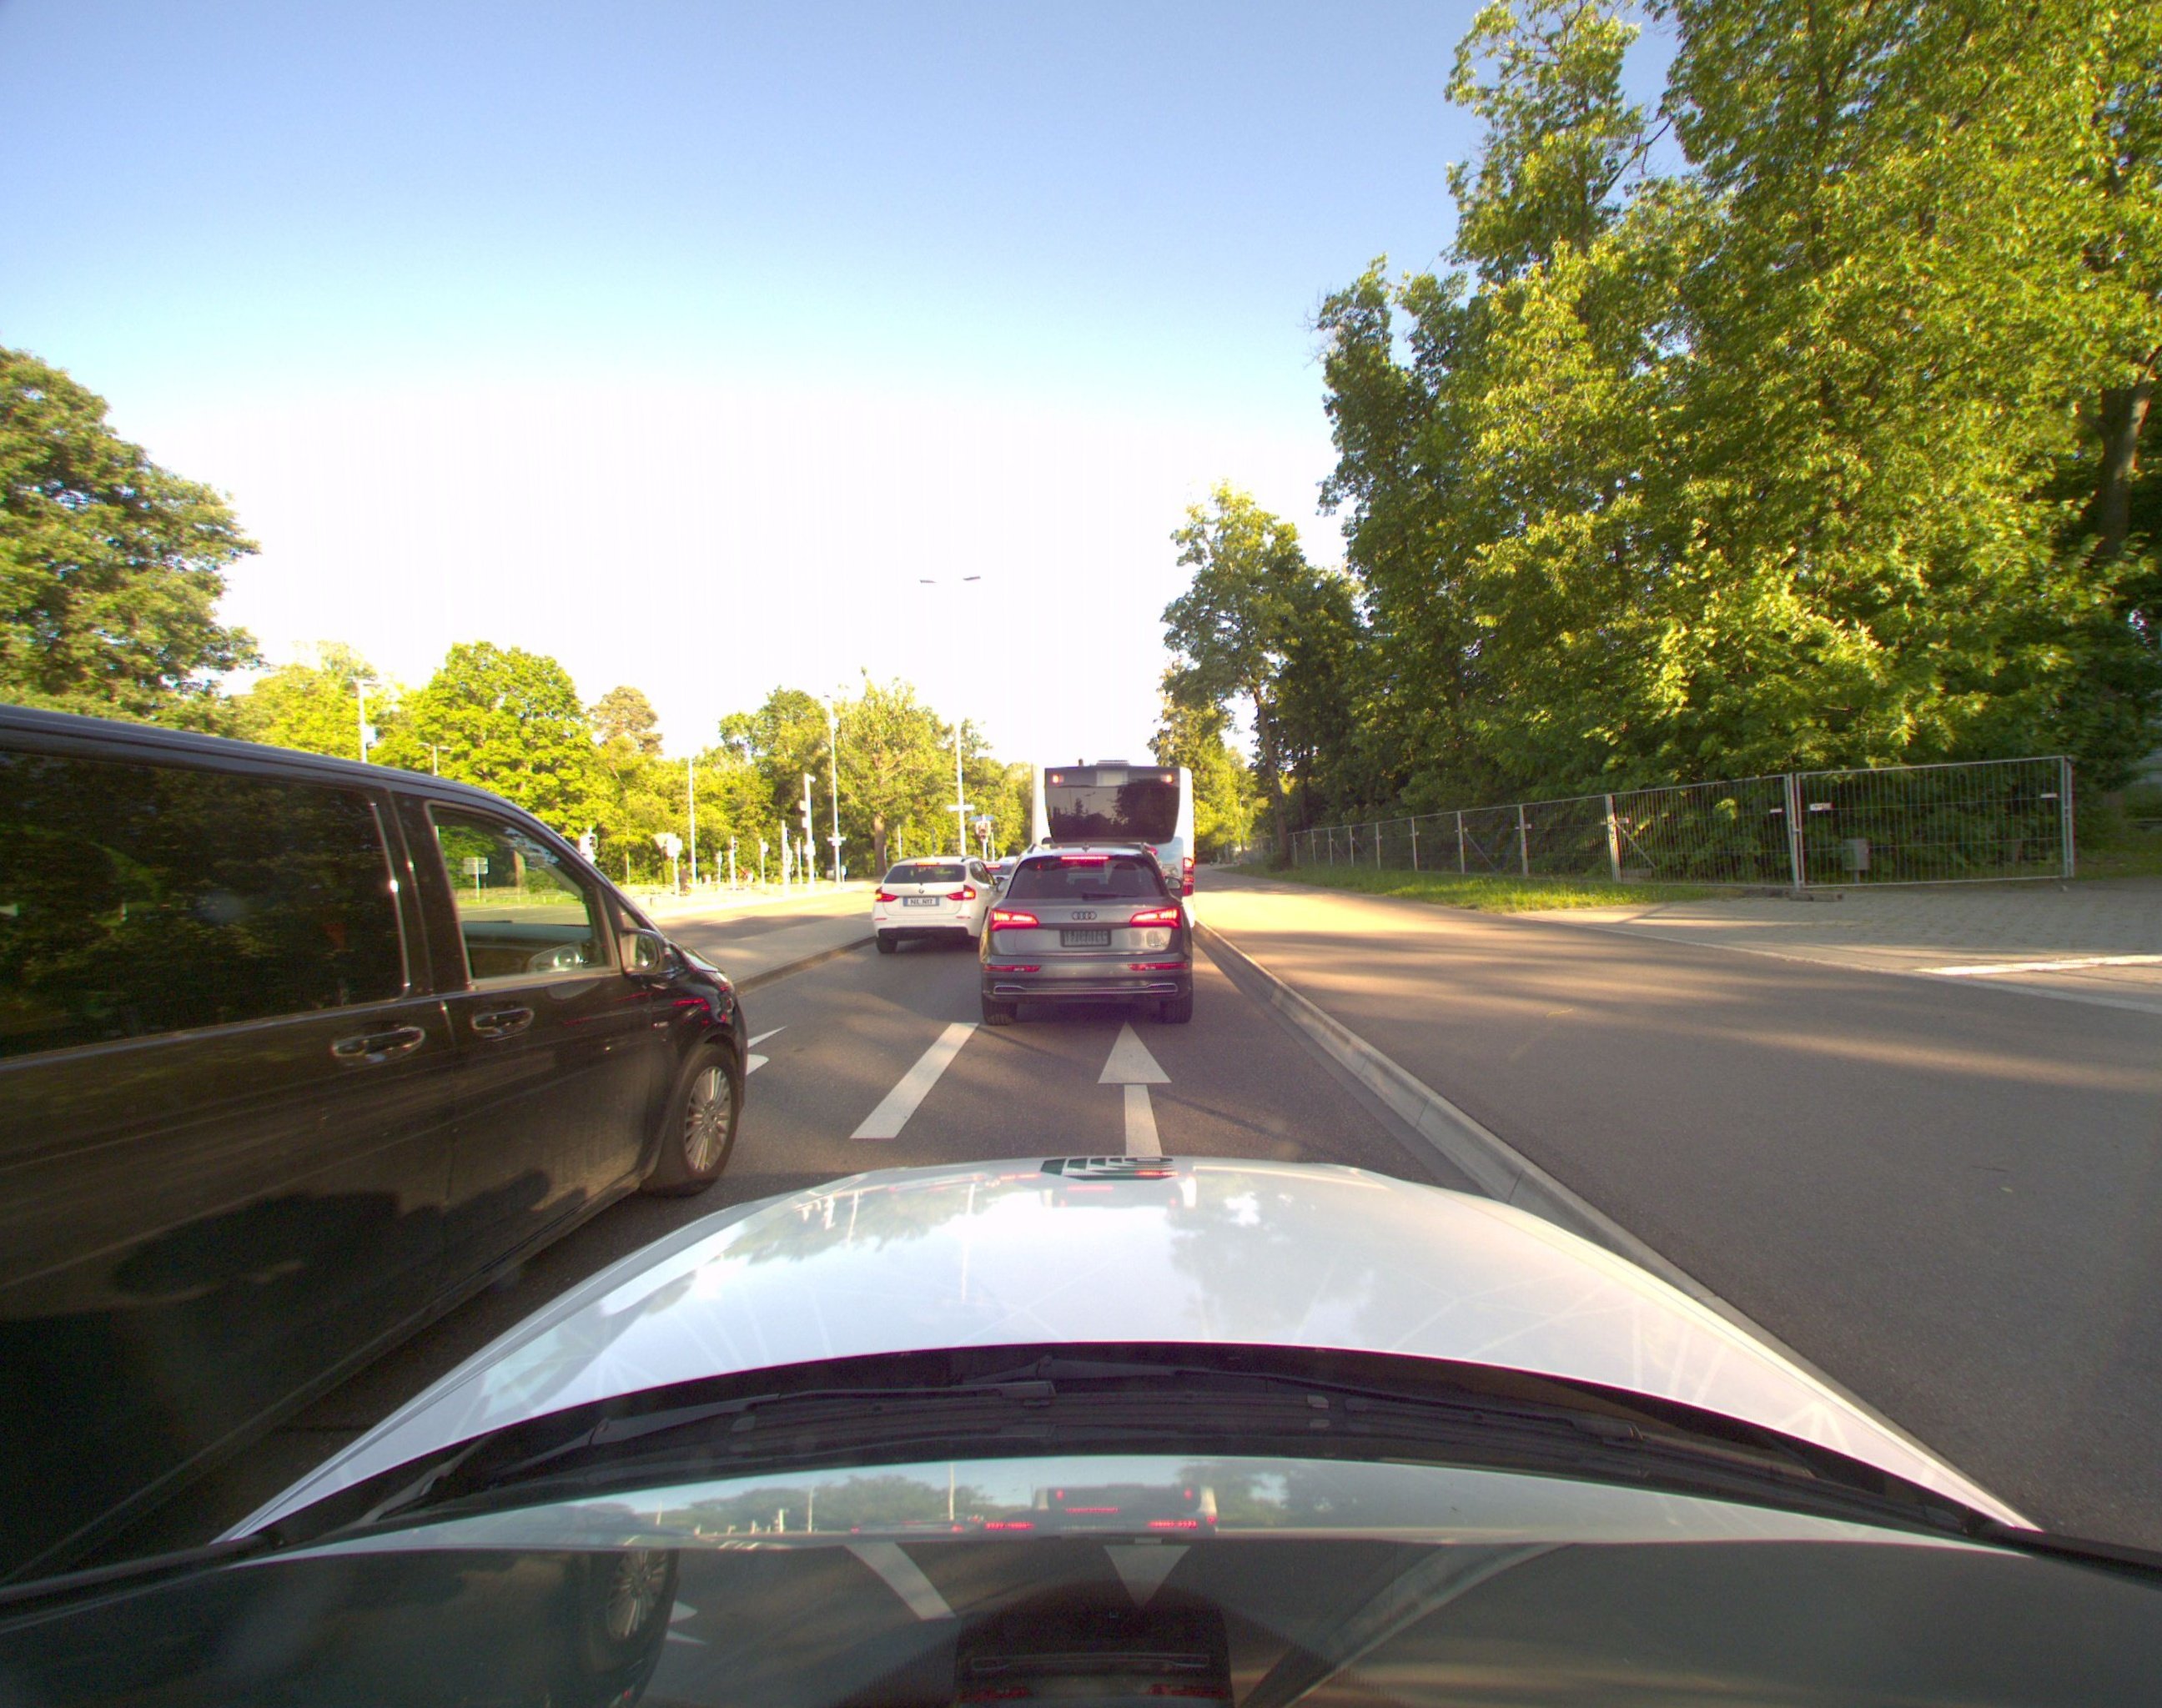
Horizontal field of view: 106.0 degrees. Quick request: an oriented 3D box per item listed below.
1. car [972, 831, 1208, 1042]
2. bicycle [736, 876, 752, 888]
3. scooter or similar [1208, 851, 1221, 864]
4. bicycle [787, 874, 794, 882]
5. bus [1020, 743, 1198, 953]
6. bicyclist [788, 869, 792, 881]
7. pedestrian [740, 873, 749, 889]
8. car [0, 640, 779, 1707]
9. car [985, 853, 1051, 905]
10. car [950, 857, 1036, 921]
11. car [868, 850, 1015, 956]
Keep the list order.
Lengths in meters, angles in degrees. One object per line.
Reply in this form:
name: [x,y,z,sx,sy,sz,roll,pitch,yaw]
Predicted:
car: [0.132,0.639,8.469,1.861,1.663,4.002,0,1,2]
bicycle: [-23.395,1.956,56.549,0.576,0.800,1.276,0,-1,-3]
scooter or similar: [12.776,0.315,77.803,1.175,1.174,0.661,0,0,13]
bicycle: [-22.118,1.856,61.989,0.266,0.581,0.838,0,-1,-4]
bus: [0.581,-0.117,15.222,2.667,3.142,5.887,0,0,3]
bicyclist: [-22.123,1.596,61.931,0.273,0.963,0.240,0,-1,-5]
pedestrian: [-23.349,1.850,56.529,0.444,1.108,0.378,0,-1,-5]
car: [-2.649,0.581,2.036,1.901,1.856,4.874,0,1,1]
car: [-2.081,0.793,27.864,1.801,1.572,4.002,0,1,2]
car: [-2.180,0.832,21.237,1.779,1.444,4.277,0,1,0]
car: [-2.285,0.758,14.474,1.712,1.581,4.435,0,-1,2]
